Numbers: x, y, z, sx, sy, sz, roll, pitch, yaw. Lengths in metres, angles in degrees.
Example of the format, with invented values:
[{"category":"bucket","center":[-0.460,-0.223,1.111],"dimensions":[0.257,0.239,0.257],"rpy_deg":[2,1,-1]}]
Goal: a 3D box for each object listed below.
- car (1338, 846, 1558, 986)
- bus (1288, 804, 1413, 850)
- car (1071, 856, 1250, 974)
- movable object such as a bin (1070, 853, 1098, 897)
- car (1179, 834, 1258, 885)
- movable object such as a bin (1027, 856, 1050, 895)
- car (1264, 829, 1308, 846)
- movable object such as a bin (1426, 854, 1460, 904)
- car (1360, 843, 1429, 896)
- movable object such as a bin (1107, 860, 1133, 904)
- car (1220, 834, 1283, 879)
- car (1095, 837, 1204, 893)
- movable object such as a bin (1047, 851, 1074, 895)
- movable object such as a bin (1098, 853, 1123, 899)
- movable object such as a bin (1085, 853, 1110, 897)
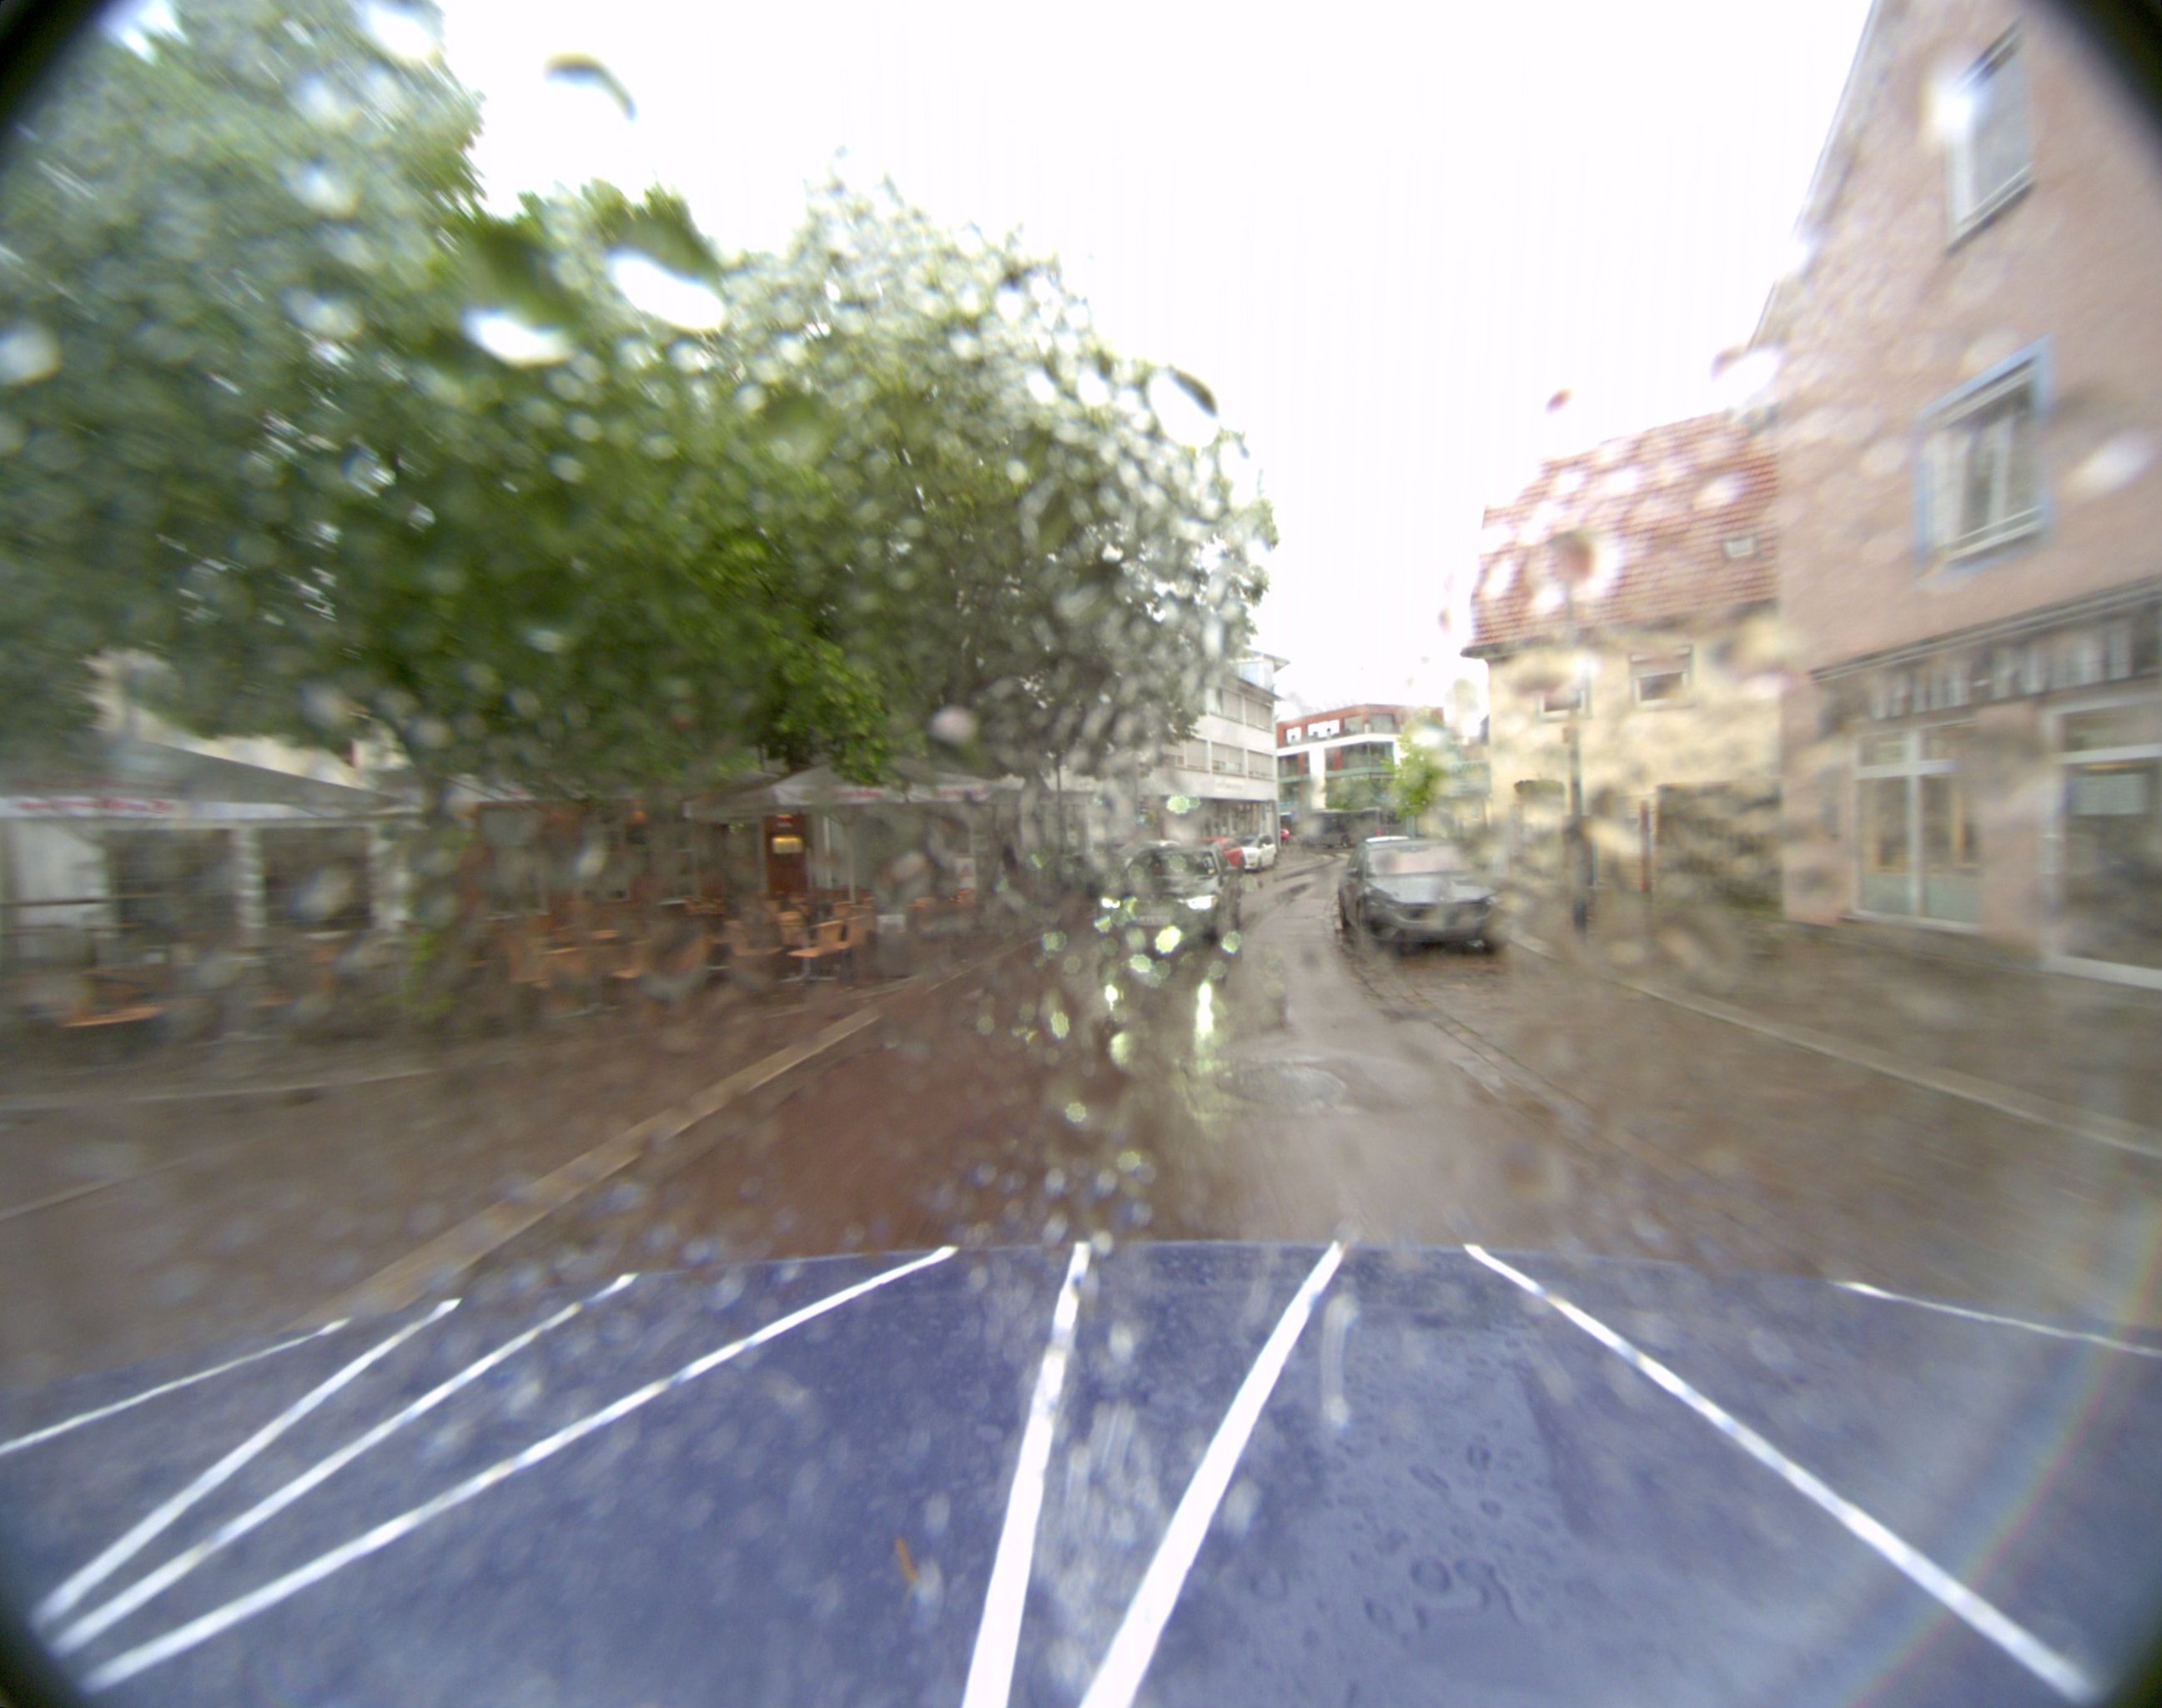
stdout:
[{"category":"car","center":[4.977,0.703,11.001],"dimensions":[1.996,1.446,4.377],"rpy_deg":[-1,2,14]},{"category":"bus","center":[20.915,-2.108,60.006],"dimensions":[2.683,3.282,10.669],"rpy_deg":[-3,3,-24]},{"category":"car","center":[1.540,0.823,12.381],"dimensions":[1.996,1.398,4.898],"rpy_deg":[-2,1,17]},{"category":"movable object such as a bin","center":[0.080,0.552,20.226],"dimensions":[0.545,1.143,0.586],"rpy_deg":[-1,3,21]},{"category":"car","center":[5.247,0.153,28.602],"dimensions":[1.691,1.680,3.963],"rpy_deg":[0,3,29]},{"category":"movable object such as a bin","center":[-1.156,0.592,20.822],"dimensions":[0.430,1.041,0.501],"rpy_deg":[-1,3,21]},{"category":"car","center":[19.772,-1.607,73.410],"dimensions":[1.722,1.566,3.989],"rpy_deg":[-3,3,-32]},{"category":"movable object such as a bin","center":[8.277,0.562,17.388],"dimensions":[0.660,1.103,0.624],"rpy_deg":[-1,3,22]},{"category":"car","center":[9.475,0.405,23.176],"dimensions":[1.692,1.415,3.821],"rpy_deg":[-1,2,19]},{"category":"movable object such as a bin","center":[1.039,0.739,20.354],"dimensions":[0.534,1.143,0.501],"rpy_deg":[-1,3,21]},{"category":"car","center":[7.417,0.057,32.748],"dimensions":[1.691,1.680,4.284],"rpy_deg":[0,3,26]},{"category":"car","center":[2.221,0.267,23.361],"dimensions":[1.691,1.530,4.411],"rpy_deg":[0,1,29]},{"category":"movable object such as a bin","center":[-0.551,0.514,20.453],"dimensions":[0.504,1.143,0.581],"rpy_deg":[-1,3,21]},{"category":"movable object such as a bin","center":[0.778,0.563,19.768],"dimensions":[0.477,1.162,0.489],"rpy_deg":[-1,3,21]},{"category":"movable object such as a bin","center":[0.457,0.566,20.753],"dimensions":[0.531,1.143,0.501],"rpy_deg":[-1,3,21]}]
